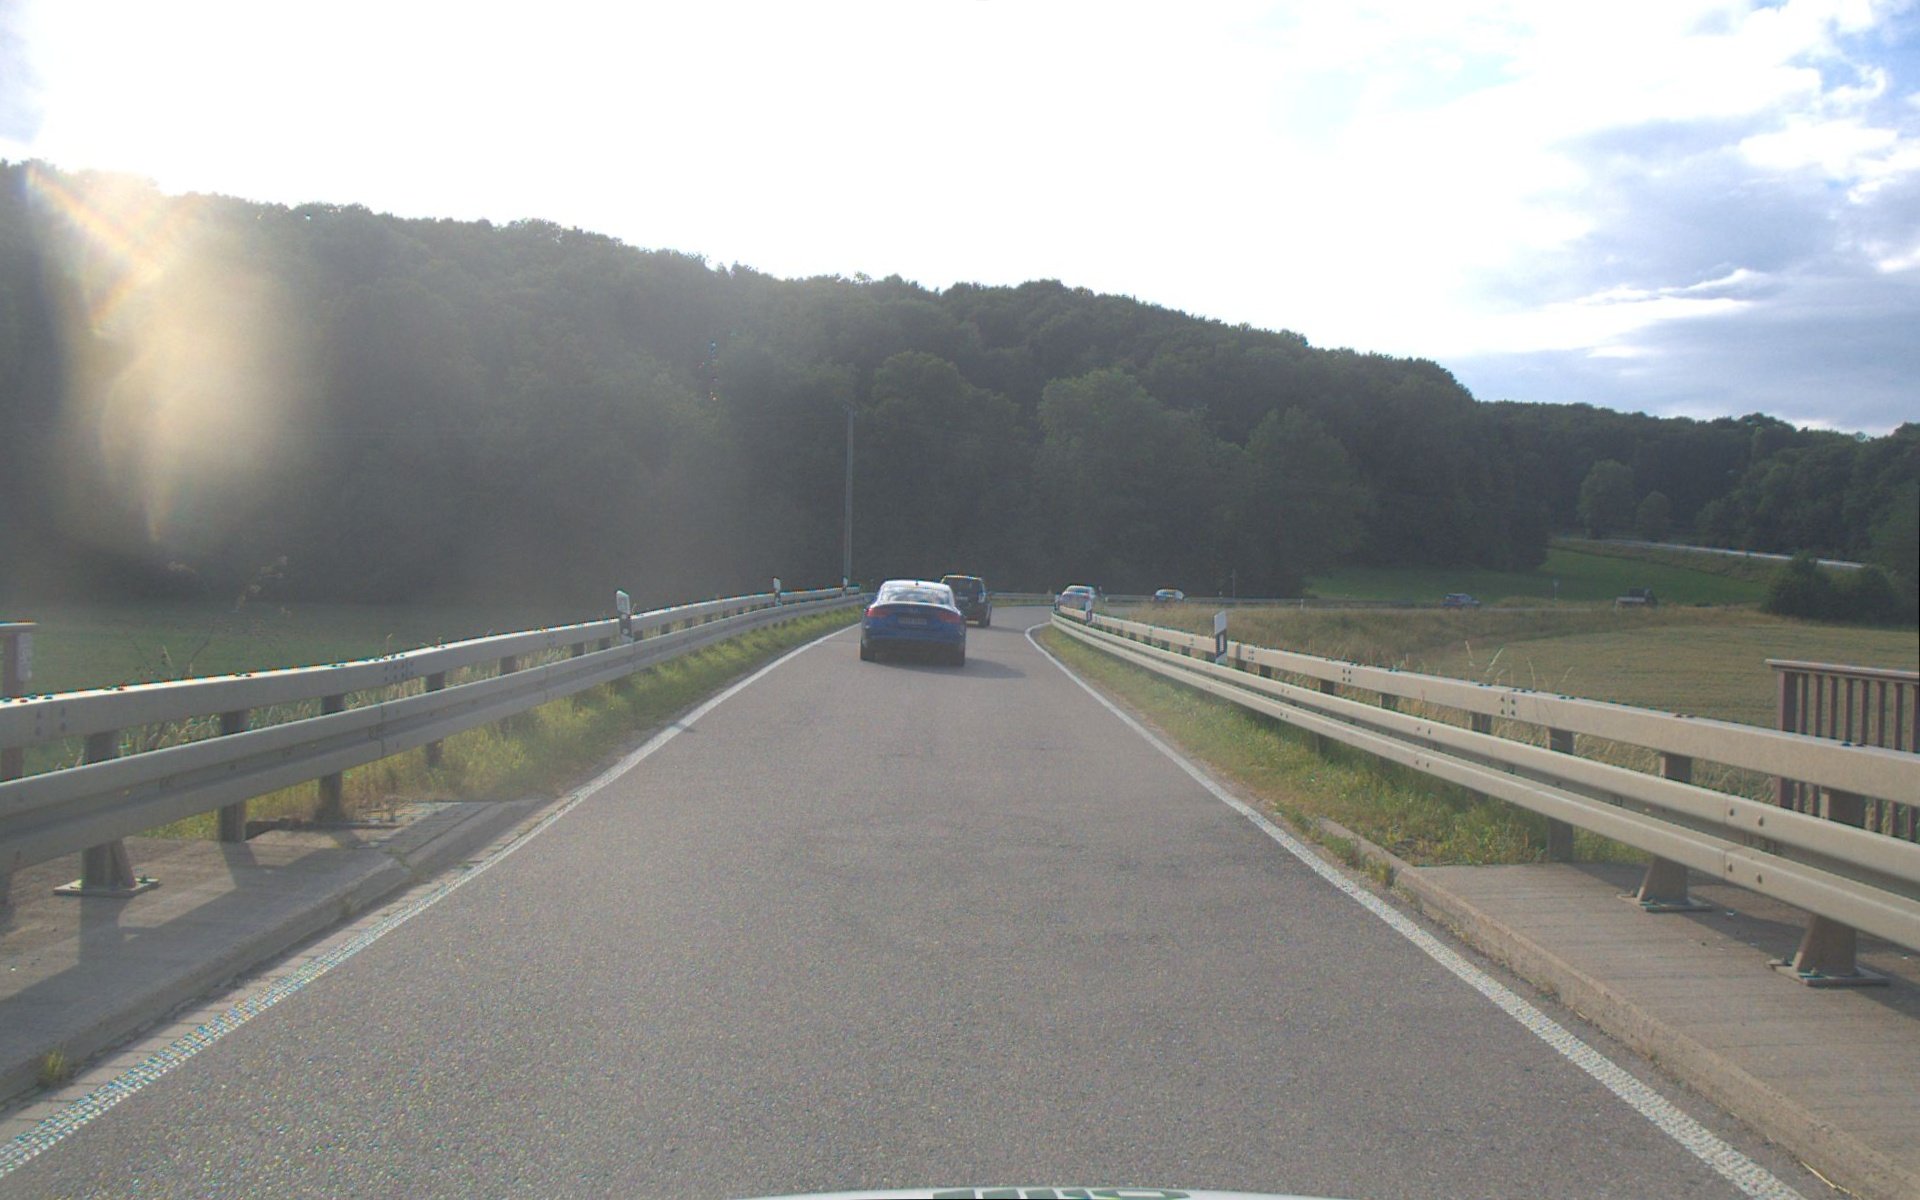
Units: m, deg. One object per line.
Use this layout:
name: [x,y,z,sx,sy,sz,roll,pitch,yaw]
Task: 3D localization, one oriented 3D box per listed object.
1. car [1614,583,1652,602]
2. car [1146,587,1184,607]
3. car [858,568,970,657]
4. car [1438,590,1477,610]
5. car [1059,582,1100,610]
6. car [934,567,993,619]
car: [72.476,-0.779,178.095,3.954,1.802,1.976,3,0,-36]
car: [13.736,-0.214,110.650,1.443,1.248,3.295,2,1,28]
car: [-0.763,0.160,29.271,1.781,1.362,4.350,3,1,0]
car: [46.977,0.035,156.085,1.964,1.708,4.155,4,1,41]
car: [6.475,-0.223,89.352,1.646,1.400,4.003,2,0,12]
car: [0.157,-0.265,54.927,1.823,1.596,4.001,2,1,1]
